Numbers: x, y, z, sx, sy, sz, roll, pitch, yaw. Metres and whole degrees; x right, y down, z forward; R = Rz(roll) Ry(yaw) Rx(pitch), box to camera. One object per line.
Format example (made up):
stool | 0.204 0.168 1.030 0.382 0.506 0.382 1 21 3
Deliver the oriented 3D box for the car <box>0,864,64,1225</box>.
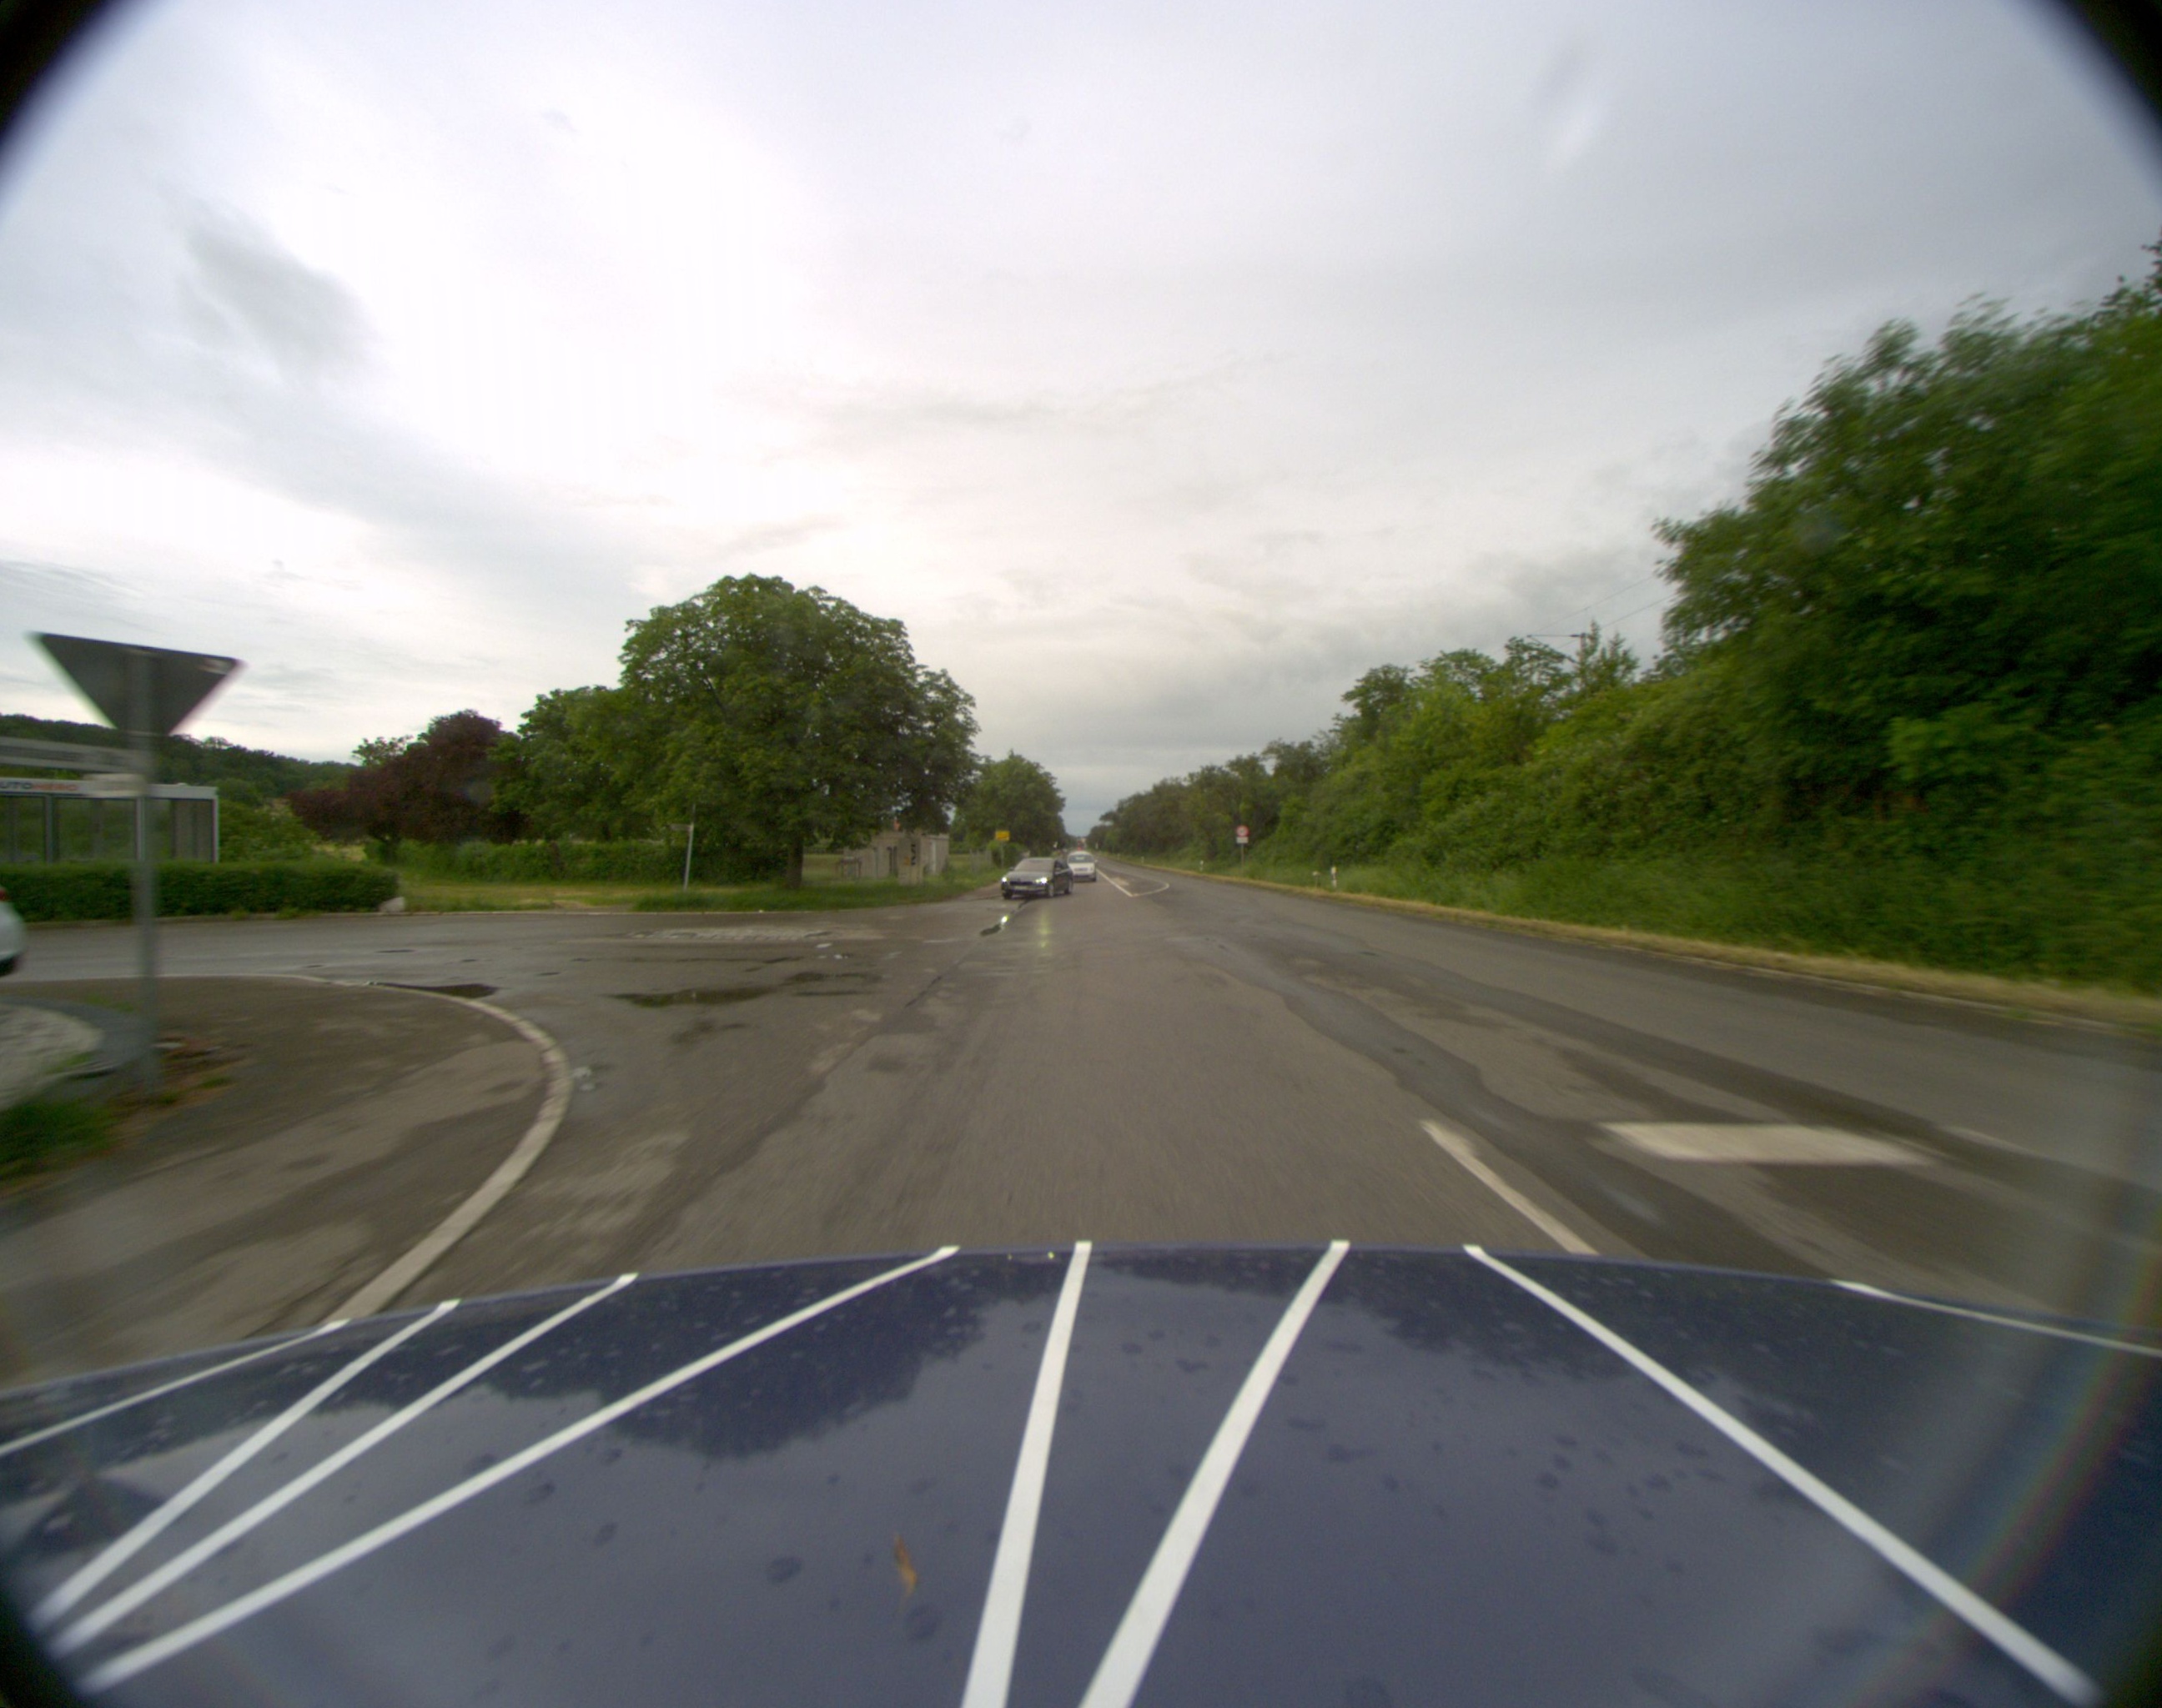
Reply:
car | -6.826 0.952 2.202 1.961 1.661 4.373 -1 1 44

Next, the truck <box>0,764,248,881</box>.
truck | -25.943 -0.657 17.519 2.782 2.608 8.486 -3 1 24

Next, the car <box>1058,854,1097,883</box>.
car | -0.142 0.759 42.140 1.998 1.537 4.000 0 0 1

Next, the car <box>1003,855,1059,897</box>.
car | -1.779 0.754 28.466 1.797 1.443 4.259 0 0 0

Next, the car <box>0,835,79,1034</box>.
car | -10.039 0.732 4.488 1.812 1.663 4.709 -2 1 2
